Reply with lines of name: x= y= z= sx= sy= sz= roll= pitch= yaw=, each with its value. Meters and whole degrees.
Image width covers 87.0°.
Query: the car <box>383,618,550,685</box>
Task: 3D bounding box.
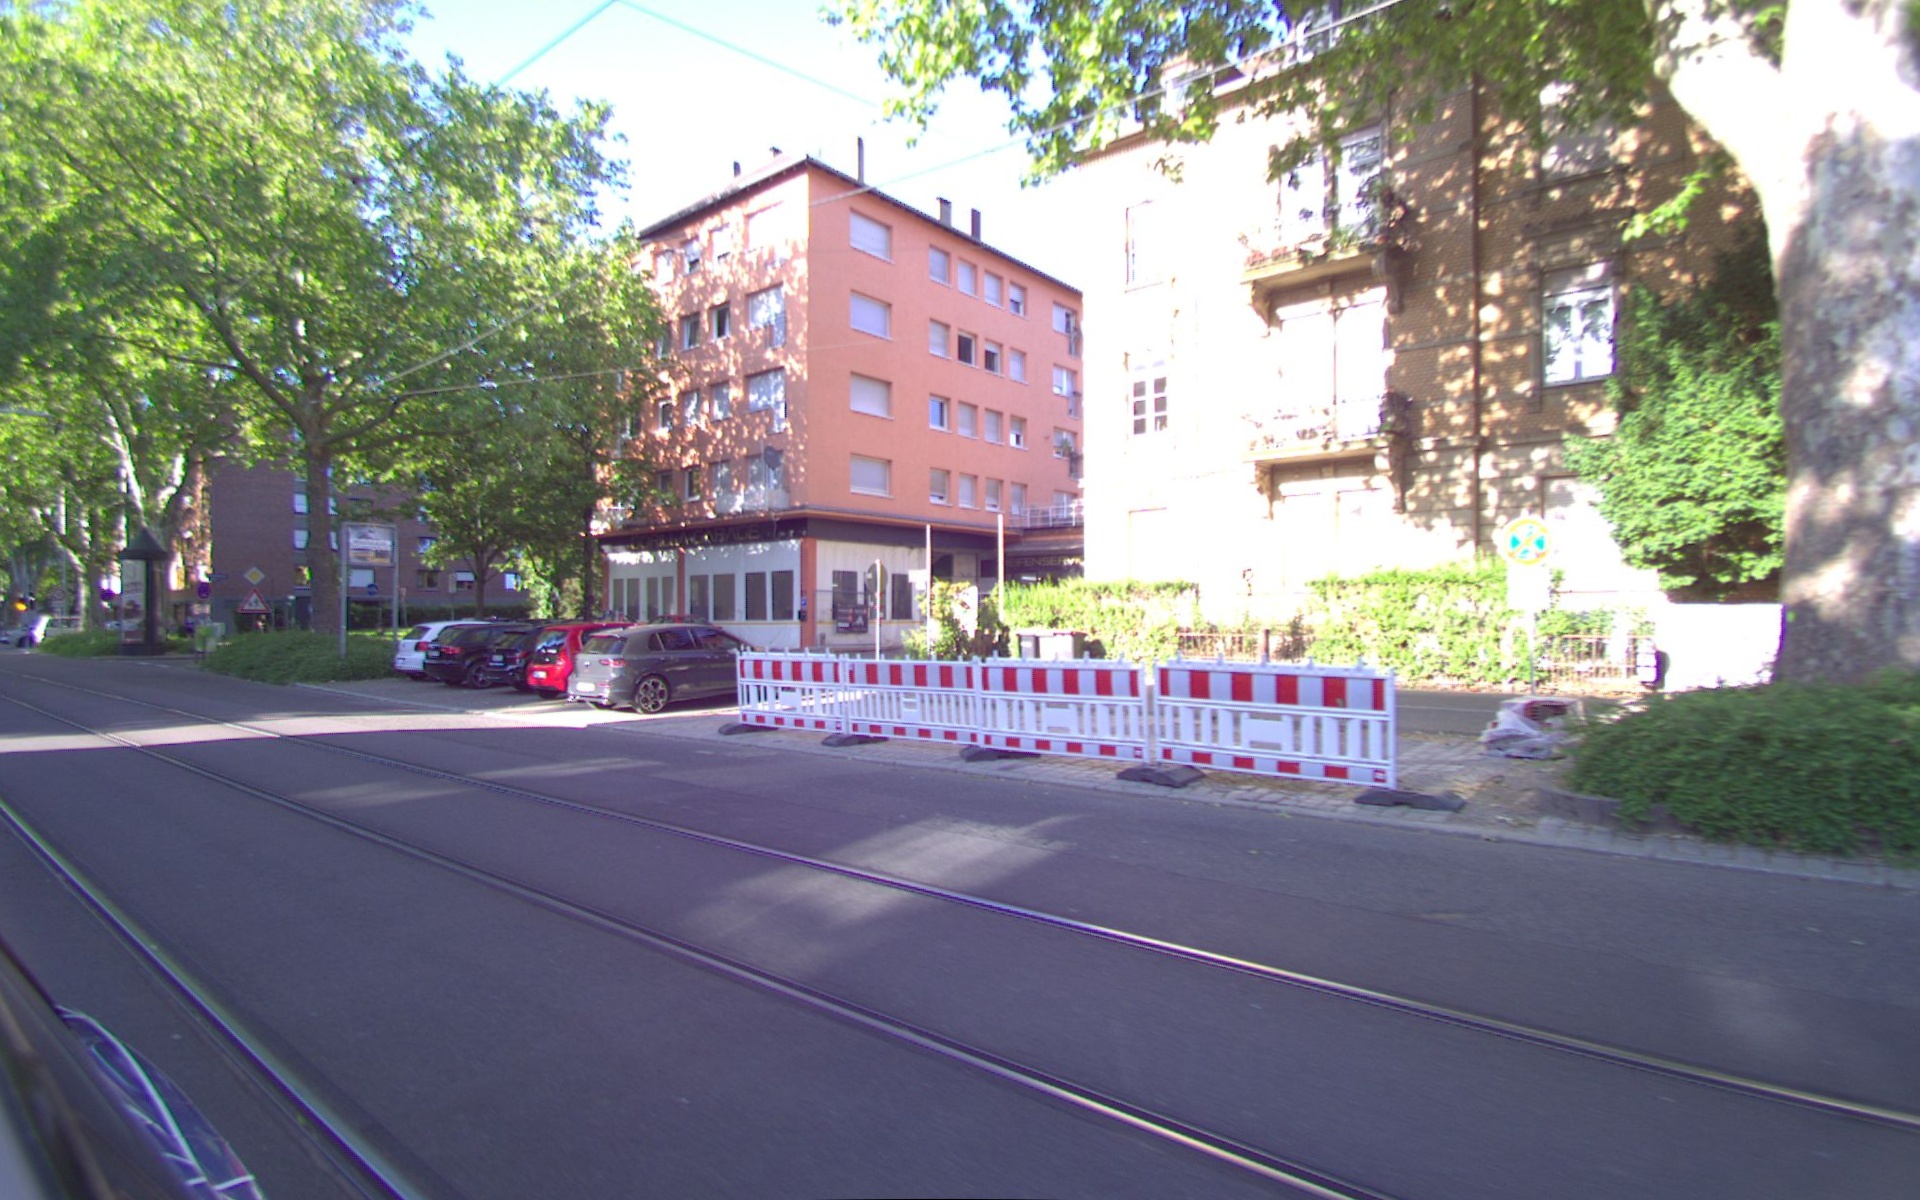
car: x=-12.394 y=1.239 z=25.520 sx=1.697 sy=1.476 sz=3.382 roll=-1 pitch=0 yaw=43

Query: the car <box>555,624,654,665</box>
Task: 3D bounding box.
car: x=-13.678 y=1.664 z=38.859 sx=3.891 sy=1.418 sz=1.927 roll=-1 pitch=0 yaw=42

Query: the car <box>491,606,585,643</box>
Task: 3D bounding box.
car: x=-18.494 y=1.054 z=44.354 sx=3.985 sy=1.504 sz=1.799 roll=-1 pitch=0 yaw=31

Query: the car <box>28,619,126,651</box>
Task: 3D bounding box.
car: x=-52.256 y=2.033 z=59.931 sx=1.900 sy=1.659 sz=4.098 roll=-1 pitch=0 yaw=39

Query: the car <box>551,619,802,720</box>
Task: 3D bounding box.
car: x=-4.946 y=1.133 z=18.037 sx=1.853 sy=1.476 sz=3.946 roll=-1 pitch=0 yaw=40

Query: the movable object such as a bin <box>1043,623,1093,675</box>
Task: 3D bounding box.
movable object such as a bin: x=2.255 y=1.003 z=21.111 sx=0.736 sy=1.030 sz=0.714 roll=-1 pitch=0 yaw=42

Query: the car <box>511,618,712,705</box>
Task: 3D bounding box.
car: x=-6.952 y=1.160 z=20.372 sx=1.759 sy=1.476 sz=3.382 roll=-1 pitch=0 yaw=43

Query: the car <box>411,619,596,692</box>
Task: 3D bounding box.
car: x=-10.626 y=1.231 z=23.686 sx=1.687 sy=1.476 sz=3.562 roll=-1 pitch=0 yaw=43

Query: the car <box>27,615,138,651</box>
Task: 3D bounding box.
car: x=-50.125 y=1.843 z=57.883 sx=1.937 sy=1.848 sz=4.525 roll=-1 pitch=0 yaw=39

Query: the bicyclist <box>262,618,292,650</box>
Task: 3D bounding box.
bicyclist: x=-32.479 y=1.611 z=48.124 sx=1.113 sy=1.518 sz=0.794 roll=-1 pitch=0 yaw=31

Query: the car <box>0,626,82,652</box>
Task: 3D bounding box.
car: x=-58.911 y=2.448 z=64.073 sx=1.953 sy=1.471 sz=4.717 roll=-1 pitch=0 yaw=39

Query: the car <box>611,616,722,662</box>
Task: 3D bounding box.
car: x=-10.362 y=1.332 z=35.598 sx=3.999 sy=1.498 sz=1.927 roll=-1 pitch=0 yaw=42

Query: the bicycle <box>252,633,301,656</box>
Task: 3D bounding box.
bicycle: x=-32.556 y=2.102 z=48.175 sx=2.574 sy=1.006 sz=0.961 roll=-1 pitch=0 yaw=31

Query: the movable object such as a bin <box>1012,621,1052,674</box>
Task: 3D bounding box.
movable object such as a bin: x=1.584 y=1.031 z=22.214 sx=0.543 sy=1.118 sz=0.717 roll=-1 pitch=0 yaw=42

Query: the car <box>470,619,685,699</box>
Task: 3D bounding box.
car: x=-8.323 y=1.212 z=22.274 sx=1.821 sy=1.476 sz=4.038 roll=-1 pitch=0 yaw=43

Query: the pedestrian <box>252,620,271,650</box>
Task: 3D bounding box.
pedestrian: x=-40.989 y=2.048 z=59.368 sx=0.779 sy=1.686 sz=0.702 roll=-1 pitch=0 yaw=41

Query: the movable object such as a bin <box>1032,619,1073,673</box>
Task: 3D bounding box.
movable object such as a bin: x=1.994 y=0.985 z=21.847 sx=0.560 sy=1.118 sz=0.715 roll=-1 pitch=0 yaw=42
